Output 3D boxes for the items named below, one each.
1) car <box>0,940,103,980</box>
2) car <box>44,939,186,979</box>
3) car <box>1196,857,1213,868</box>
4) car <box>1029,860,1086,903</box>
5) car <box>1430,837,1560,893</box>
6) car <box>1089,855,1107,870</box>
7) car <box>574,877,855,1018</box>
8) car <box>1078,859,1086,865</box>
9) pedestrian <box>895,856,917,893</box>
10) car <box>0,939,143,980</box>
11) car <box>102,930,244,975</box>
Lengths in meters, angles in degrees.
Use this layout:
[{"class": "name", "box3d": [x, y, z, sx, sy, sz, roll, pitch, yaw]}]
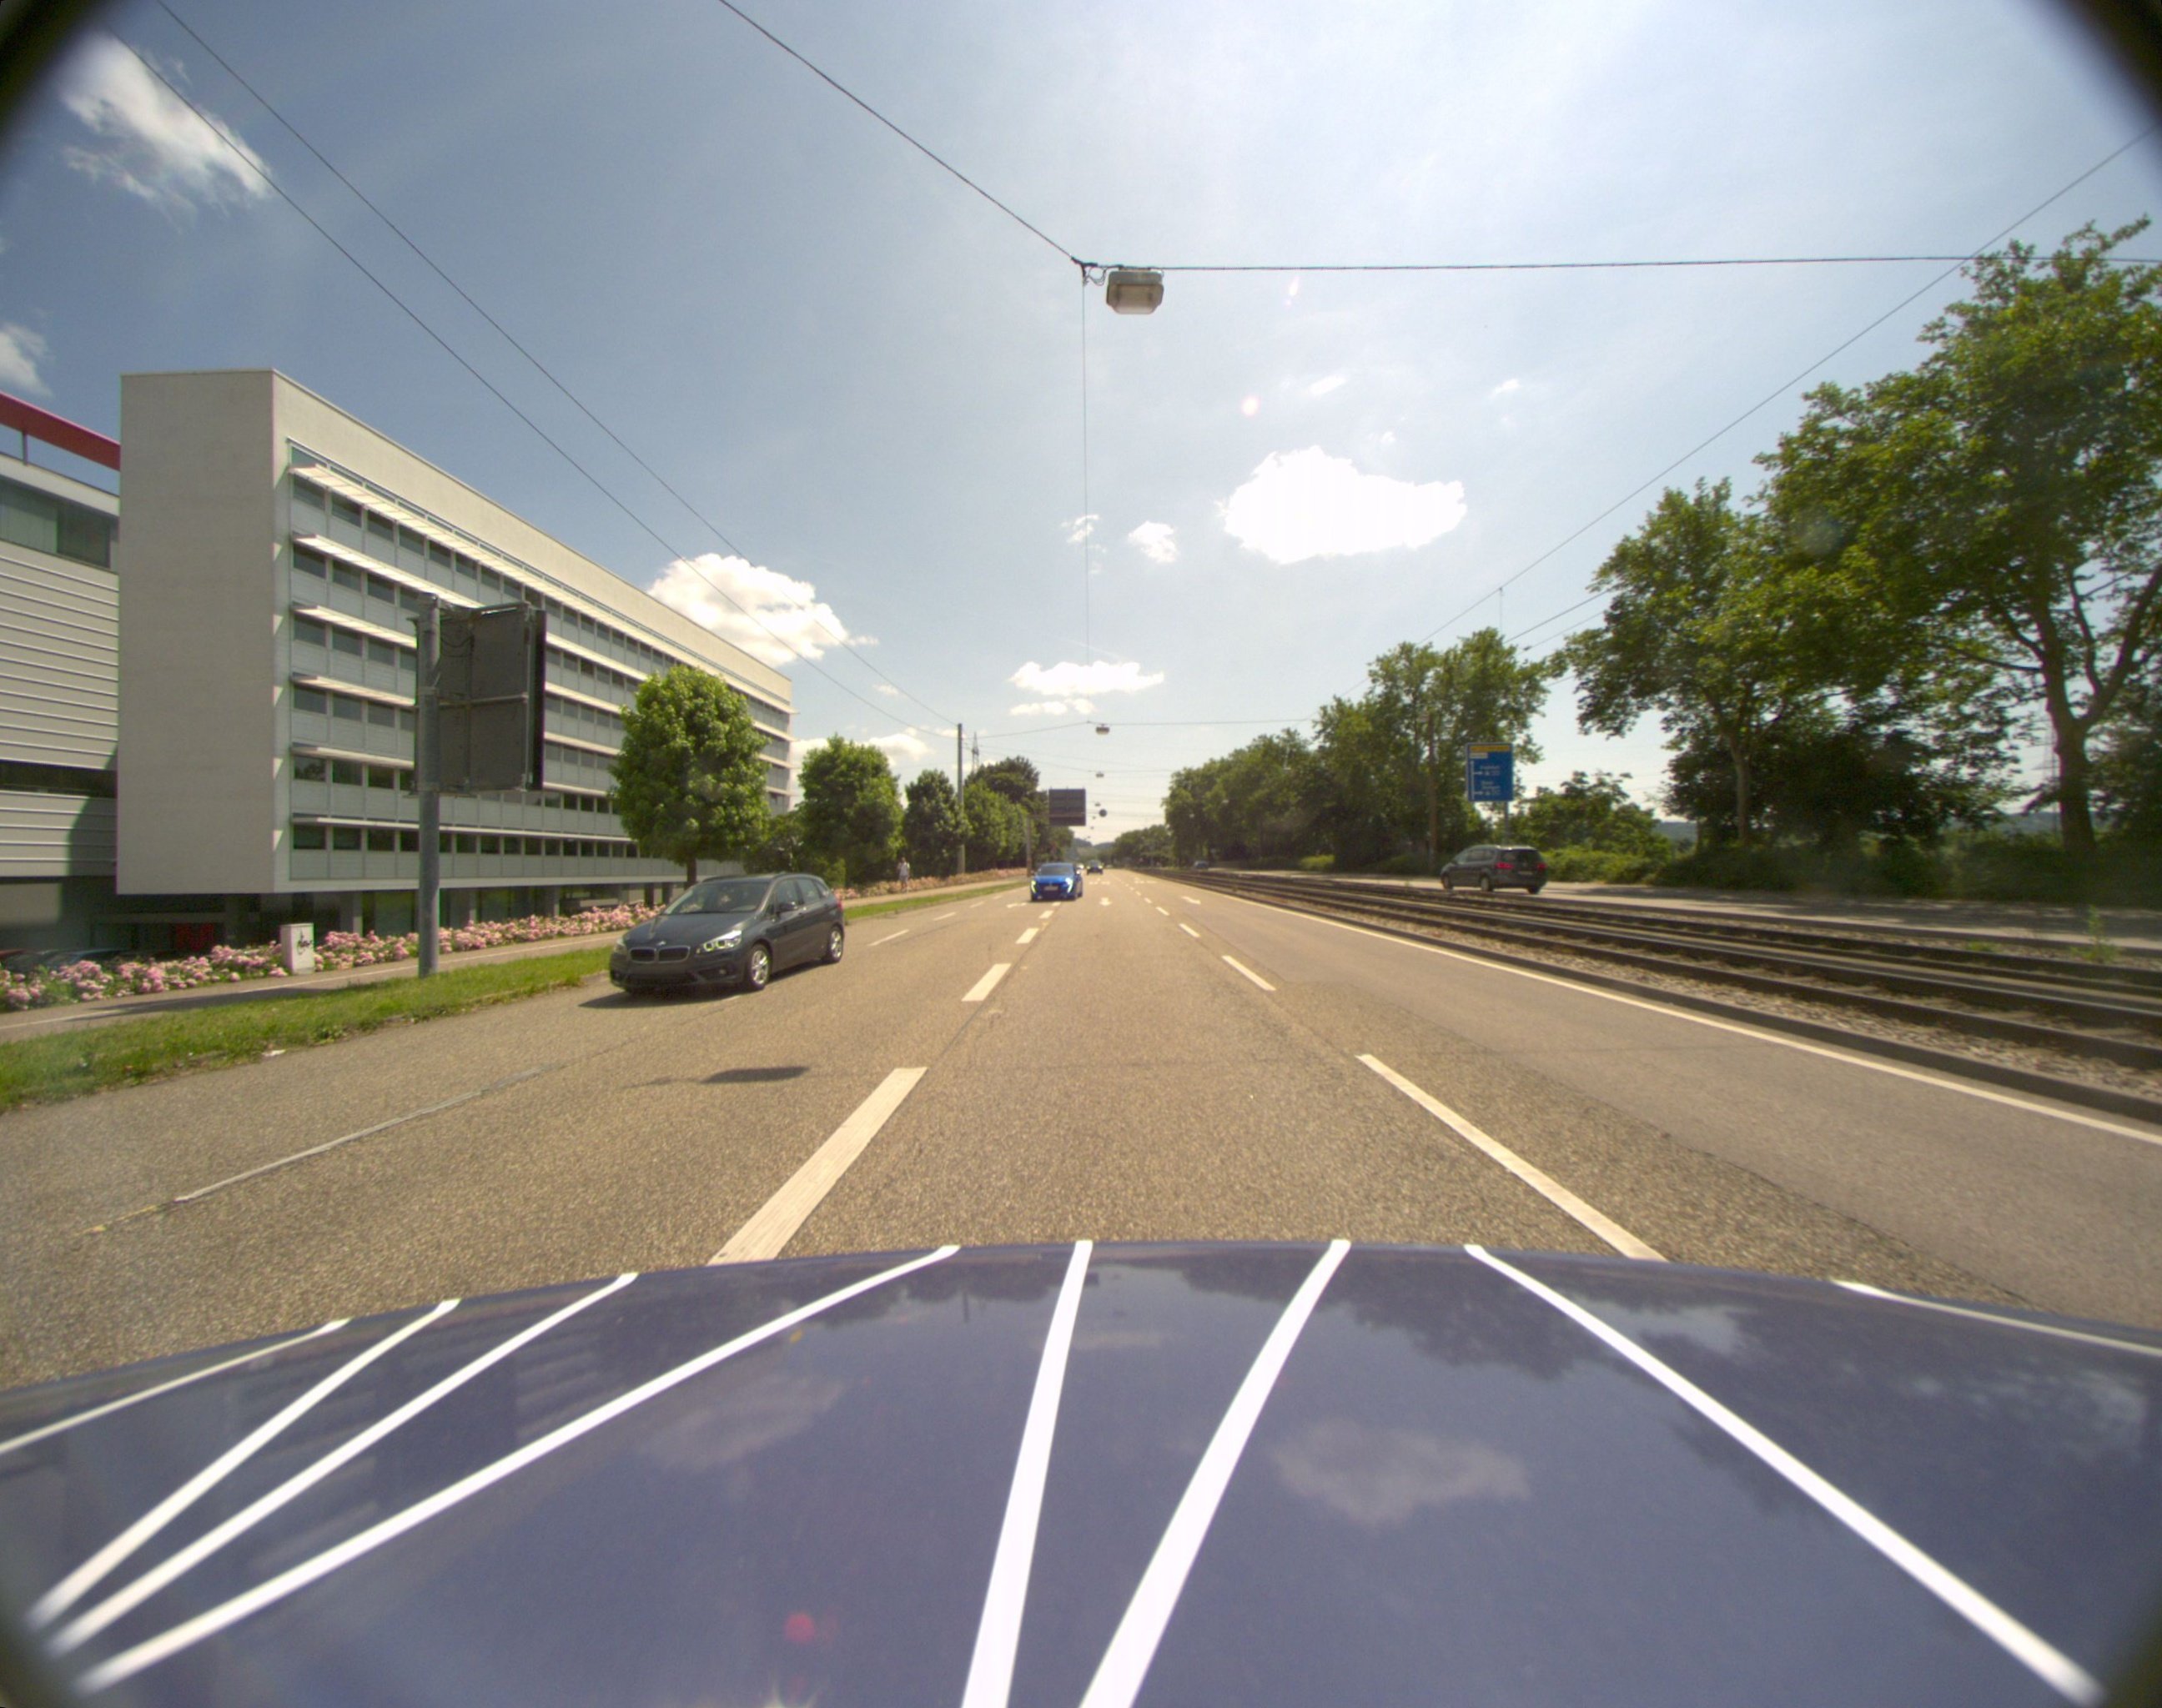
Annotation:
[{"class": "car", "box3d": [-50.992, 5.127, 36.816, 1.998, 1.438, 4.000, -2, 0, 1]}, {"class": "car", "box3d": [-46.037, 4.954, 36.346, 1.609, 1.314, 4.000, -2, 0, 1]}, {"class": "car", "box3d": [18.856, 1.285, 116.328, 1.803, 1.495, 4.735, 1, 0, -1]}, {"class": "car", "box3d": [-0.867, 1.041, 30.214, 1.841, 1.446, 4.000, -4, 0, 3]}, {"class": "car", "box3d": [15.000, 0.379, 27.910, 1.999, 1.820, 4.969, 1, 0, -1]}, {"class": "car", "box3d": [1.912, 0.912, 85.304, 1.898, 1.564, 4.511, -2, 0, 1]}, {"class": "car", "box3d": [-5.011, 1.183, 11.130, 1.764, 1.517, 4.101, -2, 0, 6]}, {"class": "car", "box3d": [0.334, 2.104, 194.123, 1.896, 1.331, 4.000, -2, 0, 1]}, {"class": "pedestrian", "box3d": [-8.867, 1.037, 38.540, 0.758, 1.838, 0.931, -2, 0, 3]}, {"class": "car", "box3d": [-48.282, 4.992, 36.387, 1.648, 1.377, 4.000, -2, 0, 1]}, {"class": "car", "box3d": [-43.665, 4.702, 36.690, 1.998, 1.602, 4.000, -2, 0, 1]}]
